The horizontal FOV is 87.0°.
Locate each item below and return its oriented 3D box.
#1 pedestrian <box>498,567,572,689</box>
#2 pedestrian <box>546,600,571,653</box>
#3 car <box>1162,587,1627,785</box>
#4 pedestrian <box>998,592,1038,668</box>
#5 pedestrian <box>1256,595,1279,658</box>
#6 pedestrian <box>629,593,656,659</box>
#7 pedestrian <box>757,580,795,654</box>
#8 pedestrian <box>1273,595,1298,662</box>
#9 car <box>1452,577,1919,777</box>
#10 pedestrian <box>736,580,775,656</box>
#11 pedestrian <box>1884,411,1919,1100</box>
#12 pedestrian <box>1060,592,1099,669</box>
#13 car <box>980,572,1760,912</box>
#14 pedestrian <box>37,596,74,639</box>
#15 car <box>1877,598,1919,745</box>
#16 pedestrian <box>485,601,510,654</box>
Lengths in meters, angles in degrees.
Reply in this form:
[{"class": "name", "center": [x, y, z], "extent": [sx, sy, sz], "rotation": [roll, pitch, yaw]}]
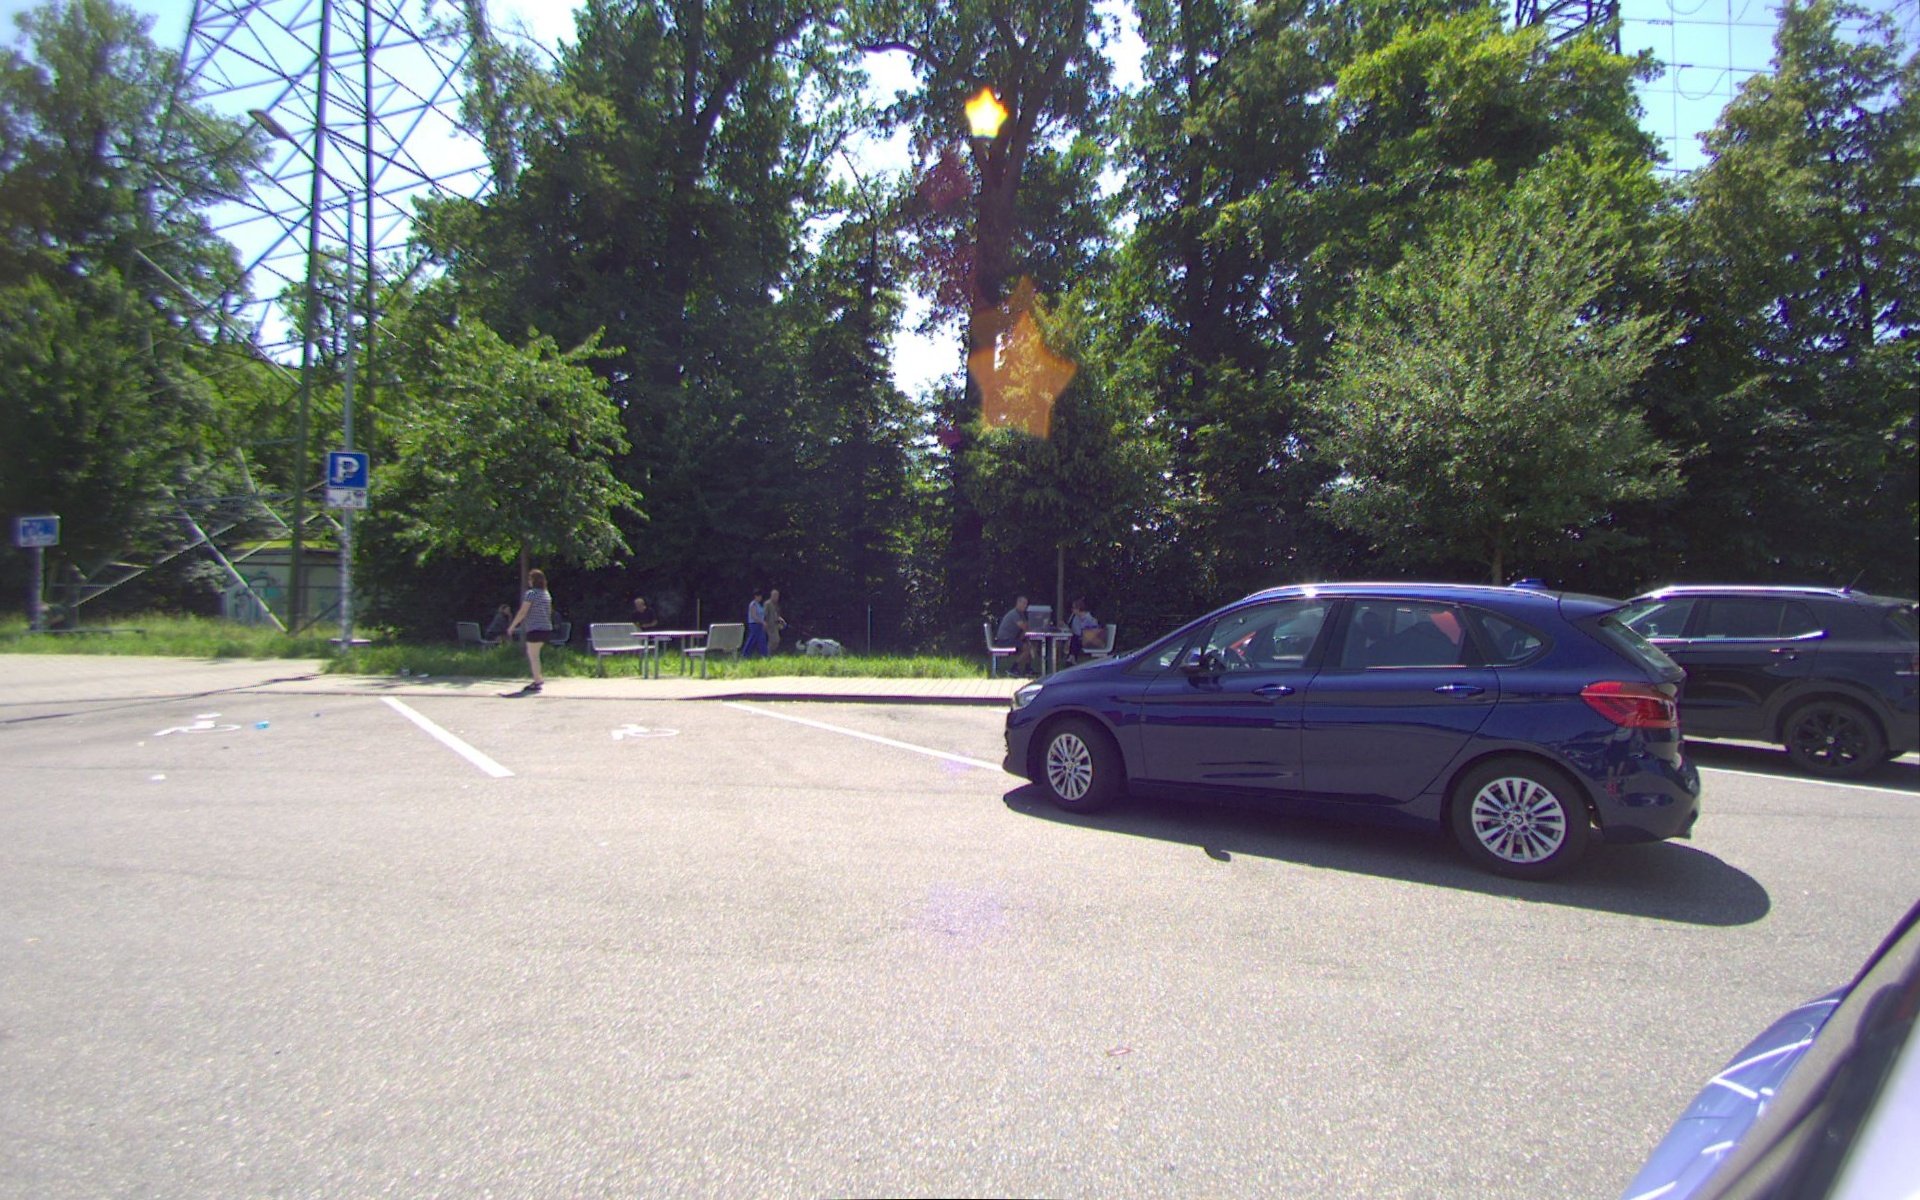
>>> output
[{"class": "pedestrian", "center": [-5.978, 0.387, 14.257], "extent": [0.703, 1.670, 0.686], "rotation": [0, 0, 9]}, {"class": "pedestrian", "center": [-9.354, 0.613, 23.597], "extent": [0.452, 1.209, 0.447], "rotation": [0, 0, -34]}, {"class": "car", "center": [3.874, 0.632, 9.649], "extent": [1.619, 1.487, 3.830], "rotation": [0, 0, -33]}, {"class": "pedestrian", "center": [0.982, 0.494, 17.113], "extent": [0.586, 1.261, 0.445], "rotation": [0, 0, 16]}, {"class": "pedestrian", "center": [5.811, 0.490, 19.127], "extent": [0.350, 1.180, 0.384], "rotation": [0, 0, 8]}, {"class": "pedestrian", "center": [-6.695, 0.544, 21.345], "extent": [0.438, 1.363, 0.462], "rotation": [0, 0, -5]}, {"class": "pedestrian", "center": [-4.121, 0.364, 22.714], "extent": [0.636, 1.625, 0.571], "rotation": [0, 0, -41]}, {"class": "pedestrian", "center": [5.763, 0.502, 17.951], "extent": [0.350, 1.180, 0.384], "rotation": [0, 0, 8]}, {"class": "car", "center": [7.090, 0.590, 9.866], "extent": [1.620, 1.575, 3.826], "rotation": [0, 0, -37]}, {"class": "pedestrian", "center": [-4.453, 0.372, 22.034], "extent": [0.636, 1.625, 0.571], "rotation": [0, 0, -41]}, {"class": "pedestrian", "center": [3.031, 0.451, 2.498], "extent": [0.804, 1.974, 0.914], "rotation": [0, 0, 21]}, {"class": "pedestrian", "center": [1.995, 0.492, 16.857], "extent": [0.586, 1.261, 0.498], "rotation": [0, 0, 16]}, {"class": "car", "center": [2.396, 0.614, 6.627], "extent": [4.316, 1.572, 1.727], "rotation": [1, 1, 35]}, {"class": "pedestrian", "center": [-20.960, 0.396, 23.454], "extent": [0.452, 0.987, 0.447], "rotation": [0, 0, -2]}, {"class": "car", "center": [10.891, 0.700, 9.012], "extent": [1.620, 1.420, 3.826], "rotation": [0, 0, -37]}, {"class": "pedestrian", "center": [-10.442, 0.613, 22.856], "extent": [0.452, 1.182, 0.447], "rotation": [0, 0, -34]}]
